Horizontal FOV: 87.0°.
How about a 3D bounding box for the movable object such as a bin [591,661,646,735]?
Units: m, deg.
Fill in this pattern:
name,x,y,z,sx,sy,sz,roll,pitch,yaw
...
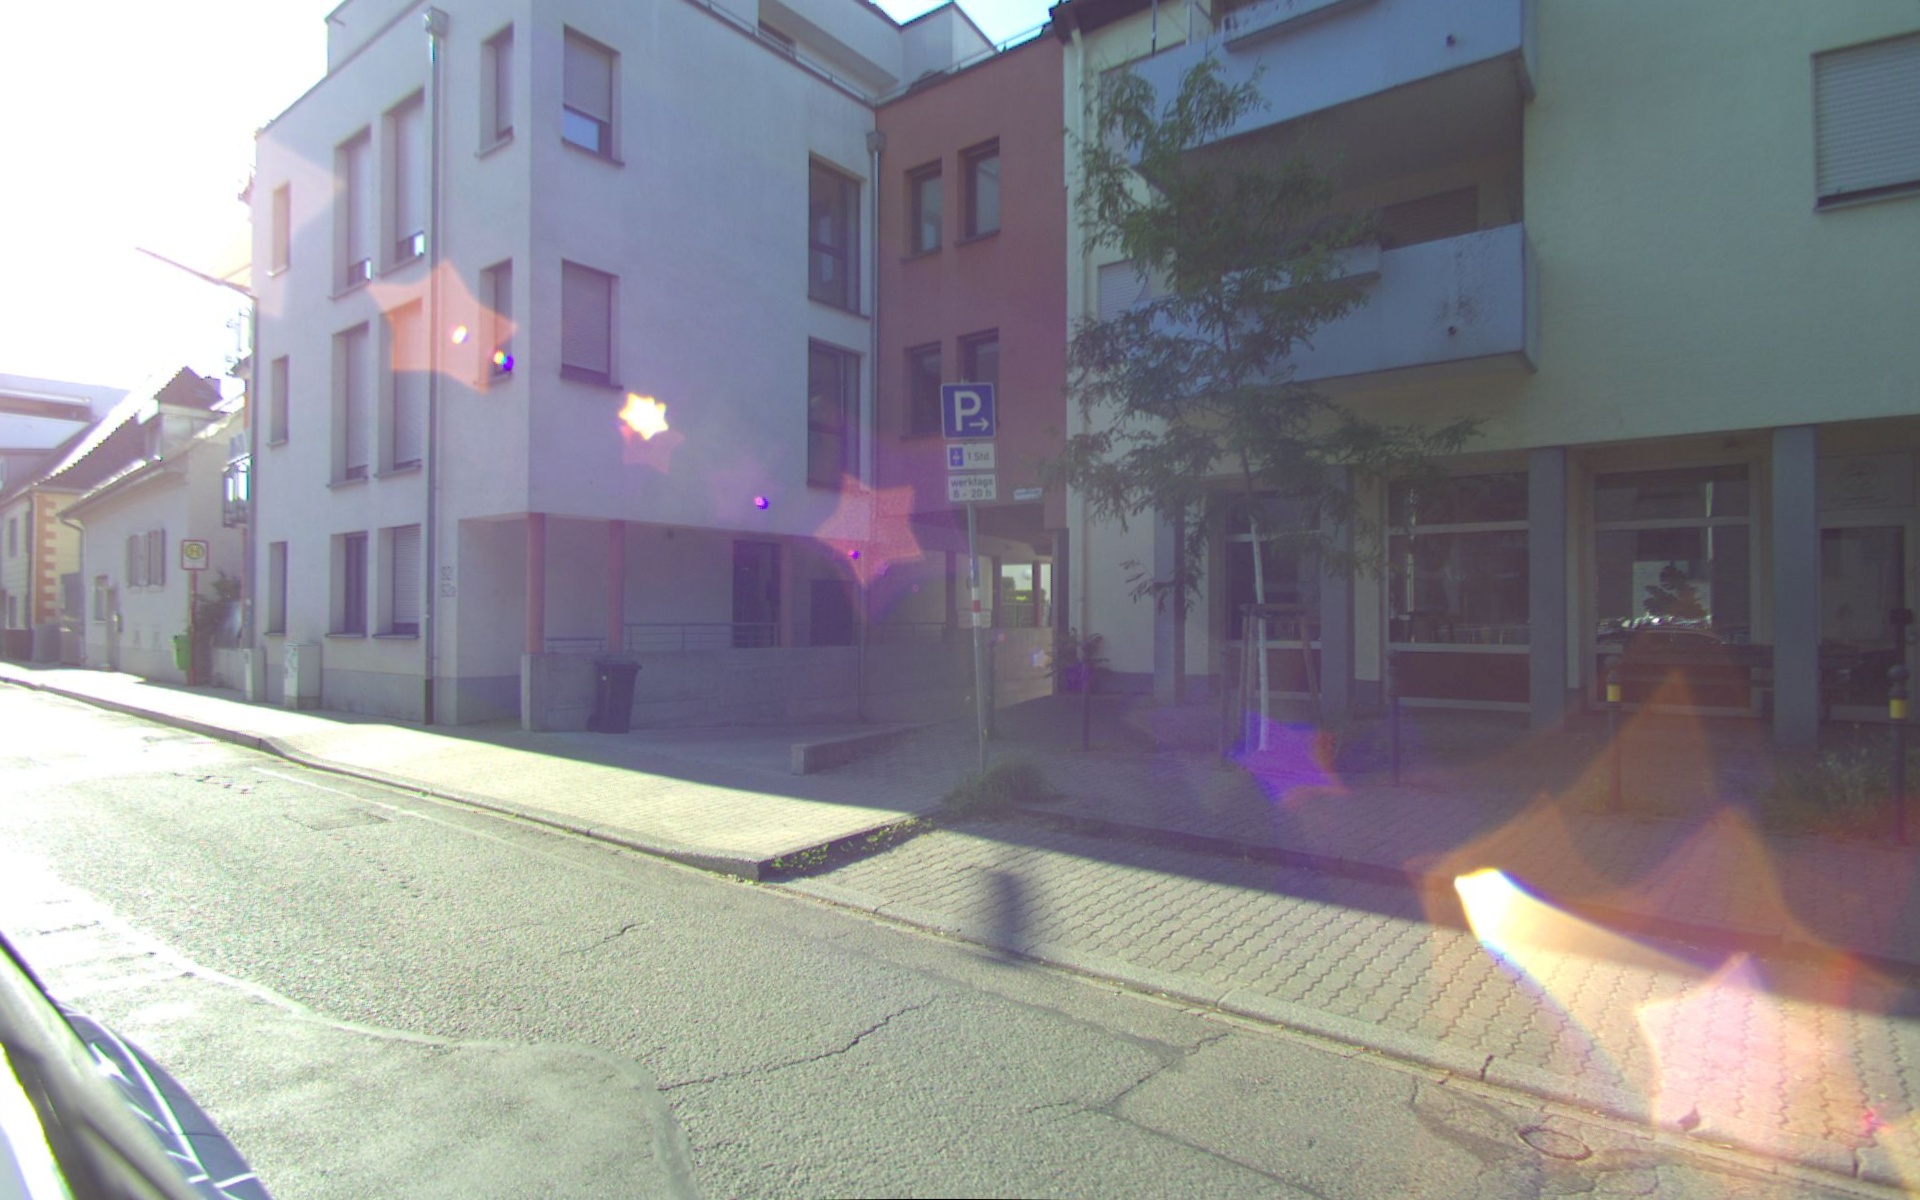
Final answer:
name,x,y,z,sx,sy,sz,roll,pitch,yaw
movable object such as a bin,-4.302,1.222,12.752,0.433,0.882,0.485,-1,-2,37
